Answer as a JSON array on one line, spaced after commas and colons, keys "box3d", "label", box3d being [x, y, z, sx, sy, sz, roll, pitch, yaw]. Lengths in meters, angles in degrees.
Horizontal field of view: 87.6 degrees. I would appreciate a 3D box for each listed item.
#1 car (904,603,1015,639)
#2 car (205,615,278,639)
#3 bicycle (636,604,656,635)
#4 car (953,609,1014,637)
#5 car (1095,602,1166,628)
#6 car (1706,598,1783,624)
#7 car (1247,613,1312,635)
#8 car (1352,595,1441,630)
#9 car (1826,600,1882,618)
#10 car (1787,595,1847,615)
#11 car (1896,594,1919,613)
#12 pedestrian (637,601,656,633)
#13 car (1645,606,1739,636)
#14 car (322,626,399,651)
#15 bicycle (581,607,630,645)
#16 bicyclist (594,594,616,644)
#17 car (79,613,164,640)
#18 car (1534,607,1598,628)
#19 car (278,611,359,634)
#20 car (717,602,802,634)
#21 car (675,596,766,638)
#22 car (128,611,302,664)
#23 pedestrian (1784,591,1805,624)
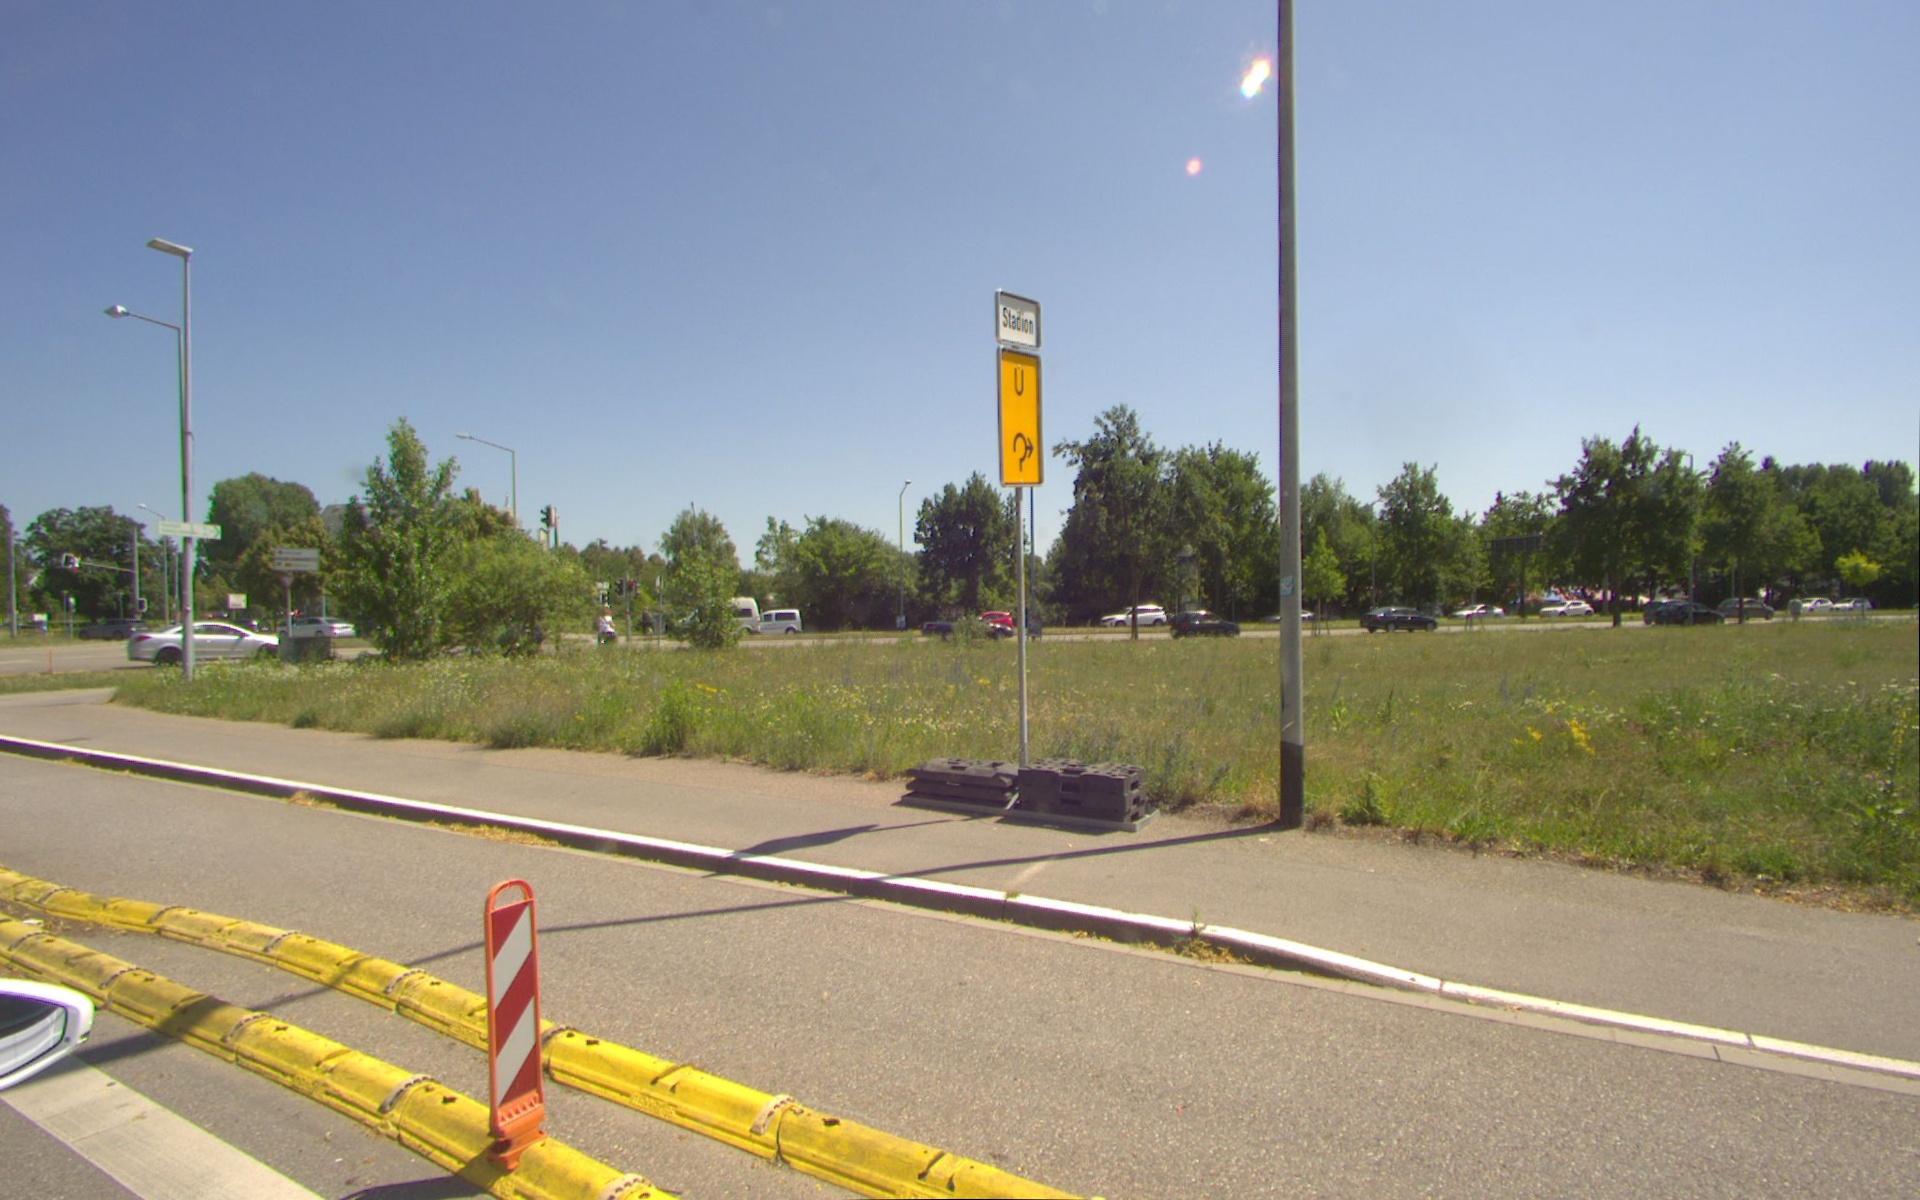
[{"box3d": [-0.039, 1.084, 50.564, 5.236, 1.758, 1.997, 0, -2, -17], "label": "car"}, {"box3d": [-53.829, 2.050, 75.089, 4.359, 1.758, 1.849, 0, -2, 8], "label": "car"}, {"box3d": [-16.781, 1.046, 53.567, 0.967, 1.617, 2.879, 0, -2, -16], "label": "bicycle"}, {"box3d": [1.577, 1.591, 68.043, 3.867, 1.840, 1.662, 0, -2, -15], "label": "car"}, {"box3d": [11.539, 1.035, 67.850, 4.366, 1.758, 1.846, 0, -2, -16], "label": "car"}, {"box3d": [54.252, 0.790, 69.255, 4.563, 1.758, 1.997, 1, -2, -18], "label": "car"}, {"box3d": [24.055, 1.803, 75.364, 4.366, 1.612, 1.846, 0, -2, -16], "label": "car"}, {"box3d": [25.090, 0.761, 57.592, 4.564, 1.961, 1.996, 1, -2, -19], "label": "car"}, {"box3d": [82.428, 0.798, 92.365, 4.365, 1.613, 1.845, 0, 0, -16], "label": "car"}, {"box3d": [73.668, 0.466, 86.092, 4.366, 1.612, 1.846, 0, -2, -16], "label": "car"}, {"box3d": [87.714, 0.312, 91.083, 4.366, 1.612, 1.846, 0, -2, -16], "label": "car"}, {"box3d": [-16.737, 0.911, 53.429, 0.954, 1.681, 0.885, 0, -1, -16], "label": "pedestrian"}, {"box3d": [43.479, 1.284, 59.509, 4.559, 1.758, 1.999, 0, -2, -13], "label": "car"}, {"box3d": [-40.086, 2.593, 66.983, 4.250, 1.634, 1.881, -1, -2, 13], "label": "car"}, {"box3d": [-13.167, 0.989, 37.323, 0.628, 1.370, 2.896, 0, -2, 4], "label": "bicycle"}, {"box3d": [-13.179, 0.716, 37.174, 0.597, 1.864, 0.572, 0, -1, 2], "label": "bicyclist"}, {"box3d": [-56.135, 1.765, 67.060, 4.359, 1.758, 1.849, 0, -2, 7], "label": "car"}, {"box3d": [47.641, 1.383, 78.779, 4.366, 1.612, 1.846, 0, -2, -16], "label": "car"}, {"box3d": [-39.332, 1.383, 61.435, 4.251, 1.389, 1.751, -1, -2, 15], "label": "car"}, {"box3d": [-12.864, 1.188, 64.119, 5.232, 1.986, 1.992, 0, -2, -15], "label": "car"}, {"box3d": [-14.358, 1.029, 60.027, 5.233, 2.427, 1.991, 0, -2, -16], "label": "car"}, {"box3d": [-24.333, 1.173, 32.802, 4.375, 1.547, 1.981, 0, 0, -44], "label": "car"}, {"box3d": [41.855, 0.371, 50.200, 0.548, 1.611, 0.662, 1, -1, -32], "label": "pedestrian"}]
